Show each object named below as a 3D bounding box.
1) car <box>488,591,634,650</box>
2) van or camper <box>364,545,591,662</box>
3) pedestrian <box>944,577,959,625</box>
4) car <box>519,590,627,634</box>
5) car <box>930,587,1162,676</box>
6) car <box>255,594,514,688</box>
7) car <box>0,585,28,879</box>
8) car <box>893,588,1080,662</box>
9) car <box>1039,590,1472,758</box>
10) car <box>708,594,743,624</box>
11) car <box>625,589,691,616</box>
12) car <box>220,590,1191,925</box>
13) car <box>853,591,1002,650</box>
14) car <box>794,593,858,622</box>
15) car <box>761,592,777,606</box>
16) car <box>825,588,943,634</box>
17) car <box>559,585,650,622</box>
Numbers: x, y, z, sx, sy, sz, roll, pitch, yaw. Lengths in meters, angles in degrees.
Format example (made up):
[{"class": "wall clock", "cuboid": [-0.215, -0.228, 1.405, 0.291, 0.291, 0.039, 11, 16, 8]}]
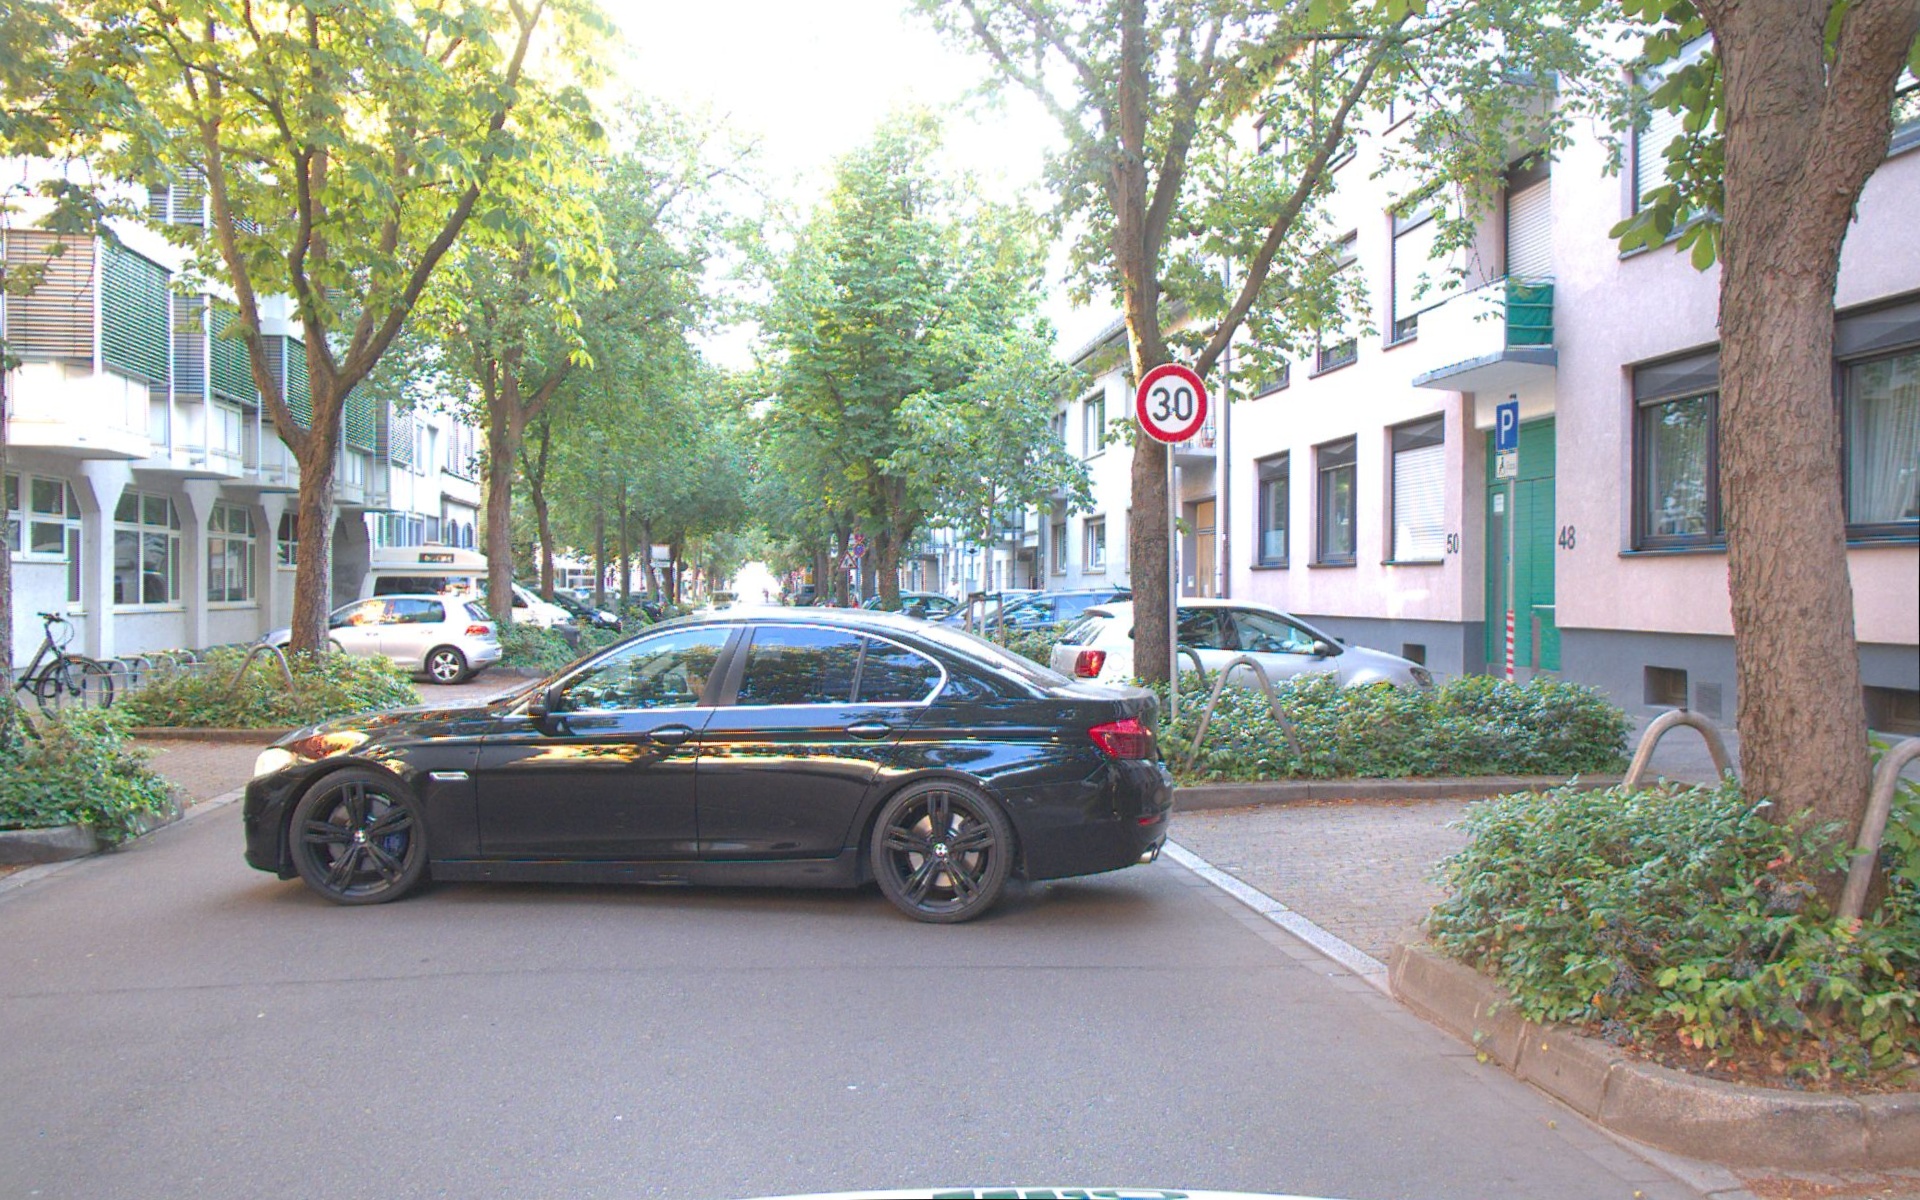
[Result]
[{"class": "car", "cuboid": [-11.487, 0.565, 47.855, 3.892, 1.647, 1.783, 0, 0, -6]}, {"class": "van or camper", "cuboid": [-10.669, 0.057, 36.877, 4.575, 2.521, 1.997, 0, 0, -7]}, {"class": "pedestrian", "cuboid": [-0.354, 0.034, 70.143, 0.577, 2.049, 0.669, 0, 0, -6]}, {"class": "car", "cuboid": [-15.007, 0.442, 64.268, 3.891, 1.647, 1.783, 0, 0, -6]}, {"class": "car", "cuboid": [1.499, 0.536, 29.691, 3.894, 1.502, 1.781, 0, 0, -9]}, {"class": "car", "cuboid": [-9.860, 0.679, 28.574, 3.892, 1.544, 1.783, 0, 0, -6]}, {"class": "car", "cuboid": [-7.103, 0.707, 7.863, 4.272, 1.544, 1.782, 0, 0, -7]}, {"class": "car", "cuboid": [0.546, 0.525, 36.144, 3.893, 1.554, 1.782, 0, 0, -8]}, {"class": "car", "cuboid": [2.810, 0.665, 16.102, 3.836, 1.502, 1.661, 0, 0, -9]}, {"class": "car", "cuboid": [-12.822, 0.454, 90.704, 1.745, 1.589, 4.162, 0, 0, -6]}, {"class": "car", "cuboid": [-18.642, 0.149, 102.166, 3.891, 1.647, 1.783, 0, 0, -6]}, {"class": "car", "cuboid": [-1.160, 0.706, 8.610, 4.644, 1.506, 1.801, 0, 0, 7]}, {"class": "car", "cuboid": [-0.904, 0.535, 44.933, 3.893, 1.554, 1.782, 0, 0, -8]}, {"class": "car", "cuboid": [-8.159, 0.467, 100.640, 3.891, 1.713, 1.783, 0, 0, -6]}, {"class": "car", "cuboid": [-22.272, -0.138, 193.230, 1.787, 1.557, 3.995, -1, 0, -6]}, {"class": "car", "cuboid": [-2.623, 0.363, 56.773, 3.894, 1.554, 1.782, 0, 0, -9]}, {"class": "car", "cuboid": [-16.269, 0.160, 75.886, 3.891, 1.647, 1.783, 0, 0, -6]}]
